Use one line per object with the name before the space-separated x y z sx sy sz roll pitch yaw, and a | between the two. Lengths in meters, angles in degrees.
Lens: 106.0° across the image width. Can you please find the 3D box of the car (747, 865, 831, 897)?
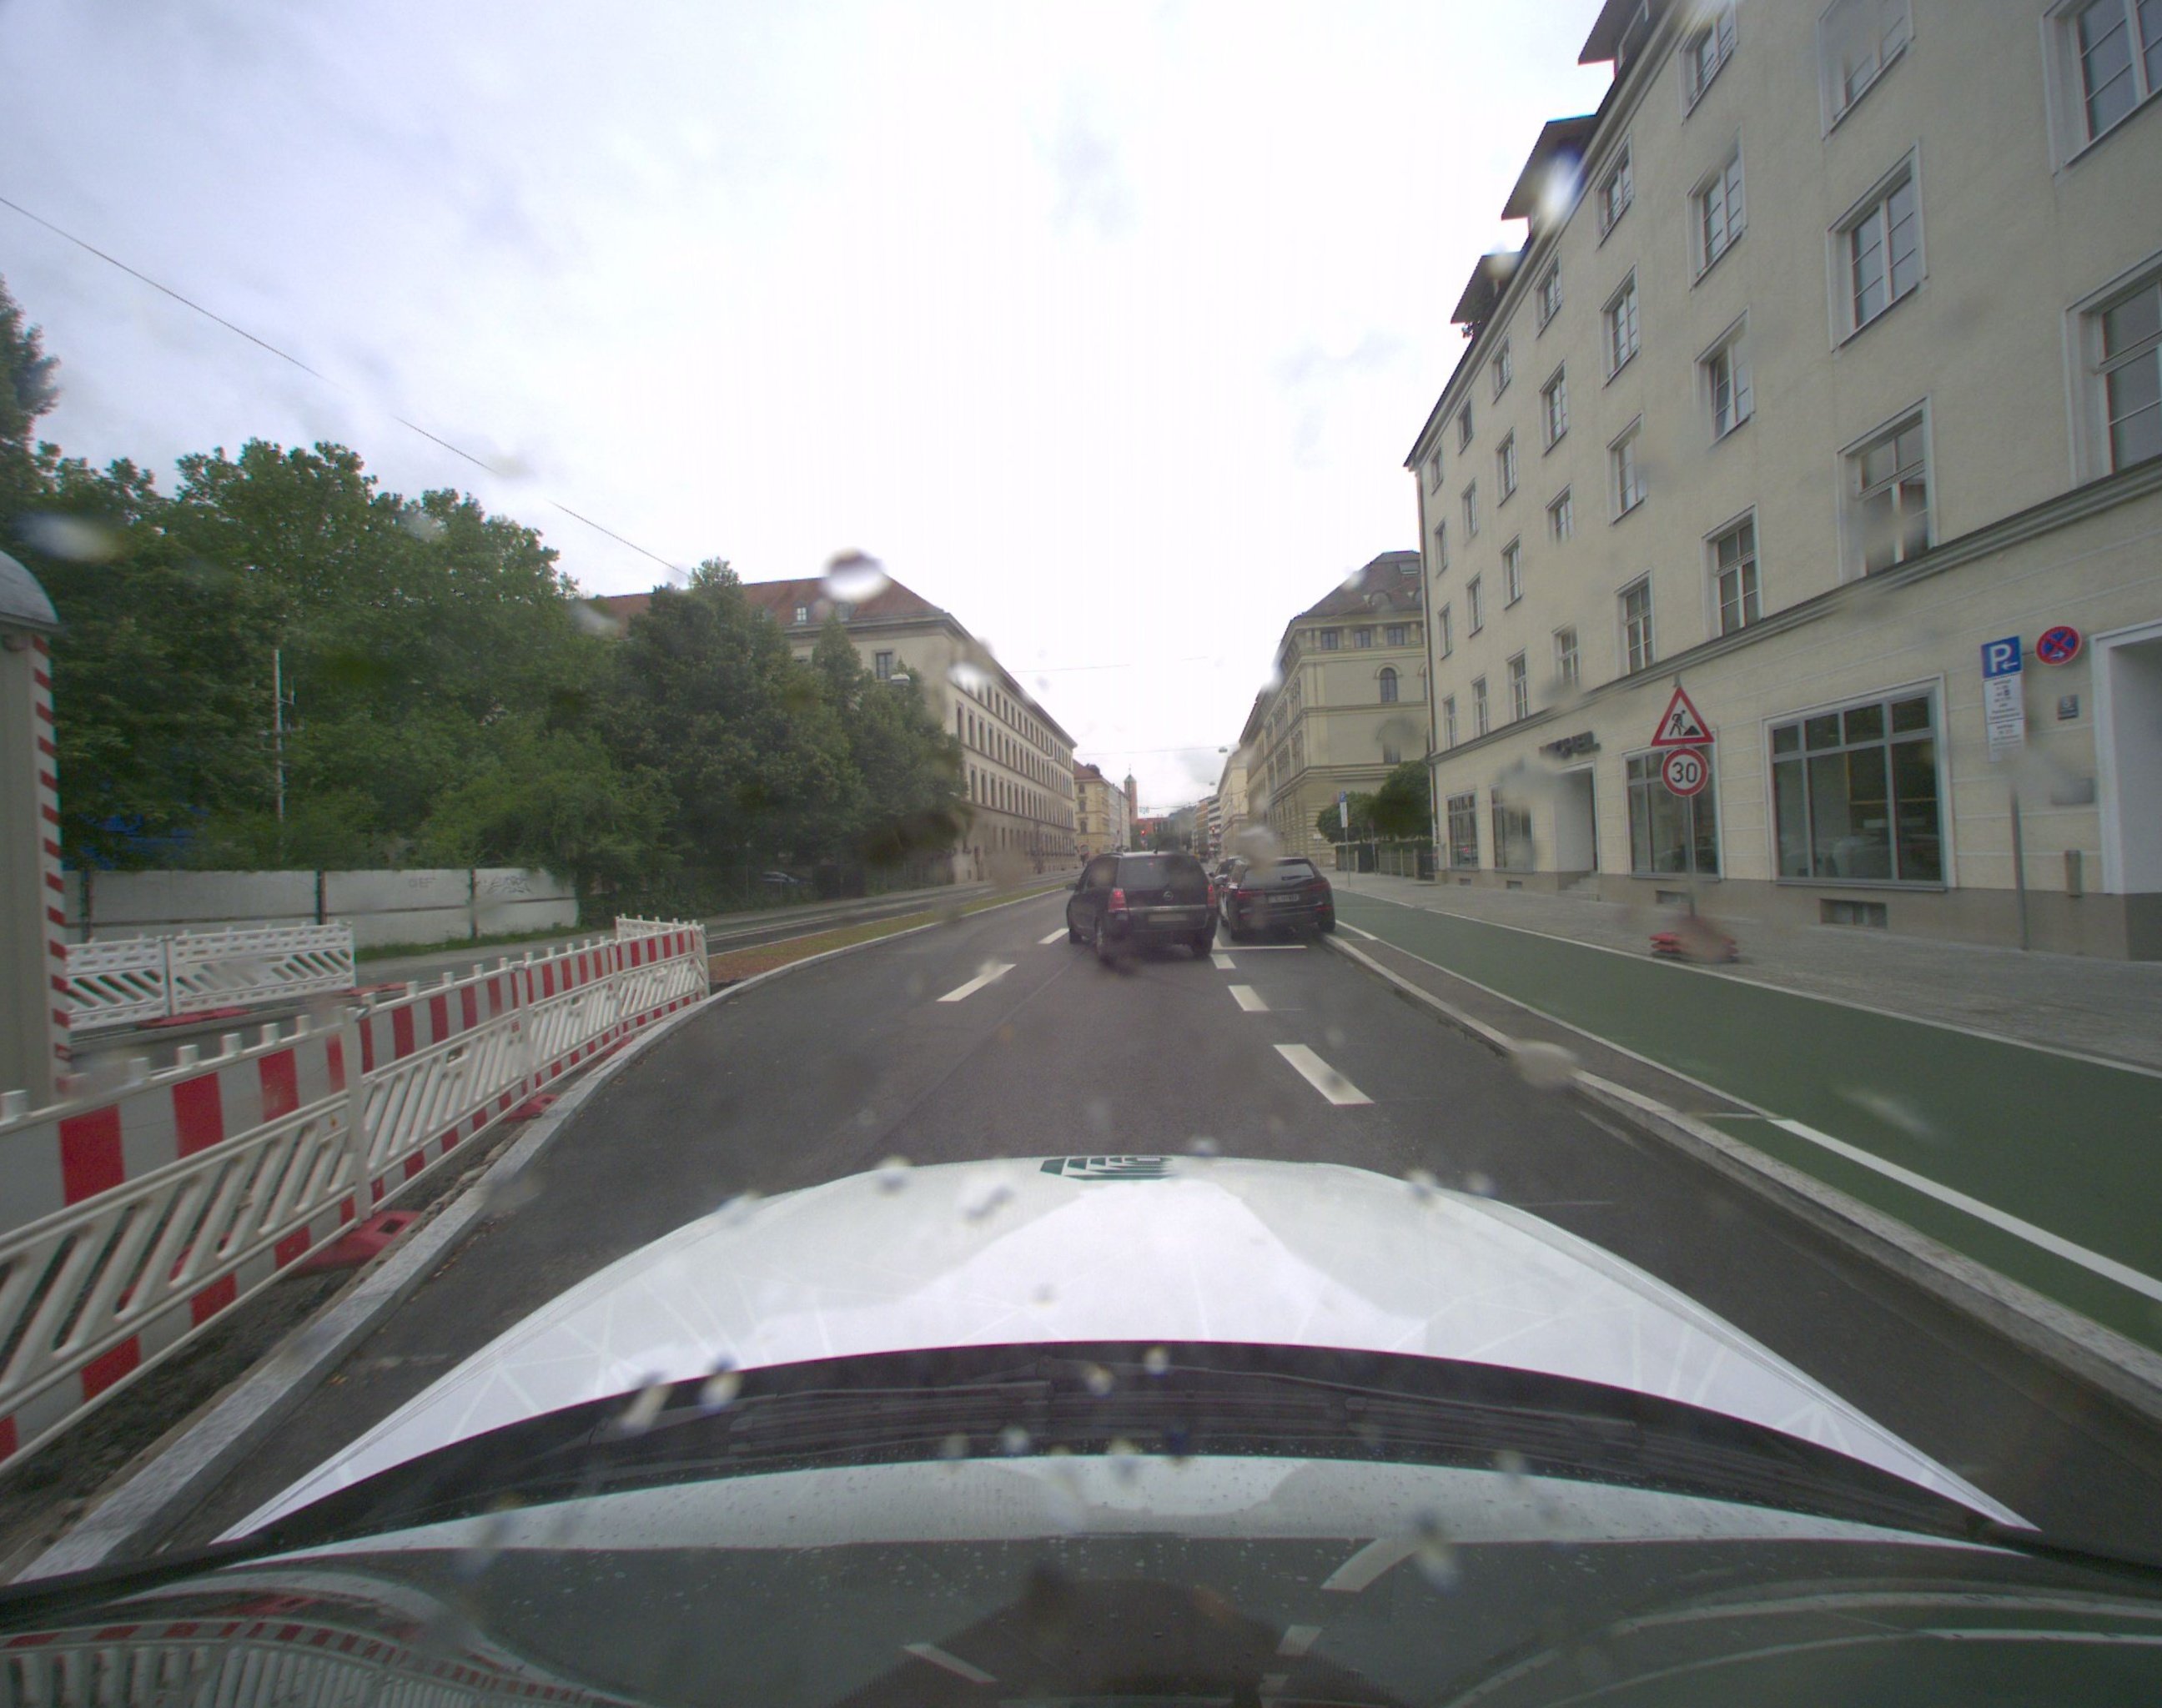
car | -17.308 1.567 48.416 4.239 1.649 1.808 -3 0 7

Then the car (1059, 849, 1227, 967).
car | 0.849 0.761 13.530 1.765 1.616 4.014 -1 0 -11

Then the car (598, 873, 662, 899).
car | -31.319 2.191 56.694 1.761 1.544 4.008 -2 0 7

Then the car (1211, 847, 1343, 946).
car | 3.650 0.722 15.934 1.800 1.480 4.469 -6 -1 6

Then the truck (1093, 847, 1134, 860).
truck | 6.060 -0.053 151.267 7.341 2.252 2.185 -1 -1 9

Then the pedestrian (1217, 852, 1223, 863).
pedestrian | 22.348 0.565 130.913 0.746 1.618 0.715 -3 -1 15

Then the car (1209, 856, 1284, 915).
car | 4.516 0.806 22.755 1.815 1.407 4.731 -1 0 9

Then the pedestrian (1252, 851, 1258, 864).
pedestrian | 22.463 0.482 105.143 0.706 1.618 0.756 -2 -1 7

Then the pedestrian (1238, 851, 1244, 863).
pedestrian | 21.897 0.412 111.668 0.706 1.618 0.756 -2 -1 7

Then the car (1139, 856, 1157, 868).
car | 8.374 1.002 101.658 1.982 1.444 4.009 -2 0 8

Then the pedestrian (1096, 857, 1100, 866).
pedestrian | 3.275 1.428 157.689 0.652 1.805 0.729 -2 -1 7

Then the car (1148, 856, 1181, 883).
car | 4.721 0.847 45.726 1.720 1.403 4.009 -1 0 7

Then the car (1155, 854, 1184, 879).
car | 5.716 0.765 52.204 1.720 1.461 4.009 -1 0 7
